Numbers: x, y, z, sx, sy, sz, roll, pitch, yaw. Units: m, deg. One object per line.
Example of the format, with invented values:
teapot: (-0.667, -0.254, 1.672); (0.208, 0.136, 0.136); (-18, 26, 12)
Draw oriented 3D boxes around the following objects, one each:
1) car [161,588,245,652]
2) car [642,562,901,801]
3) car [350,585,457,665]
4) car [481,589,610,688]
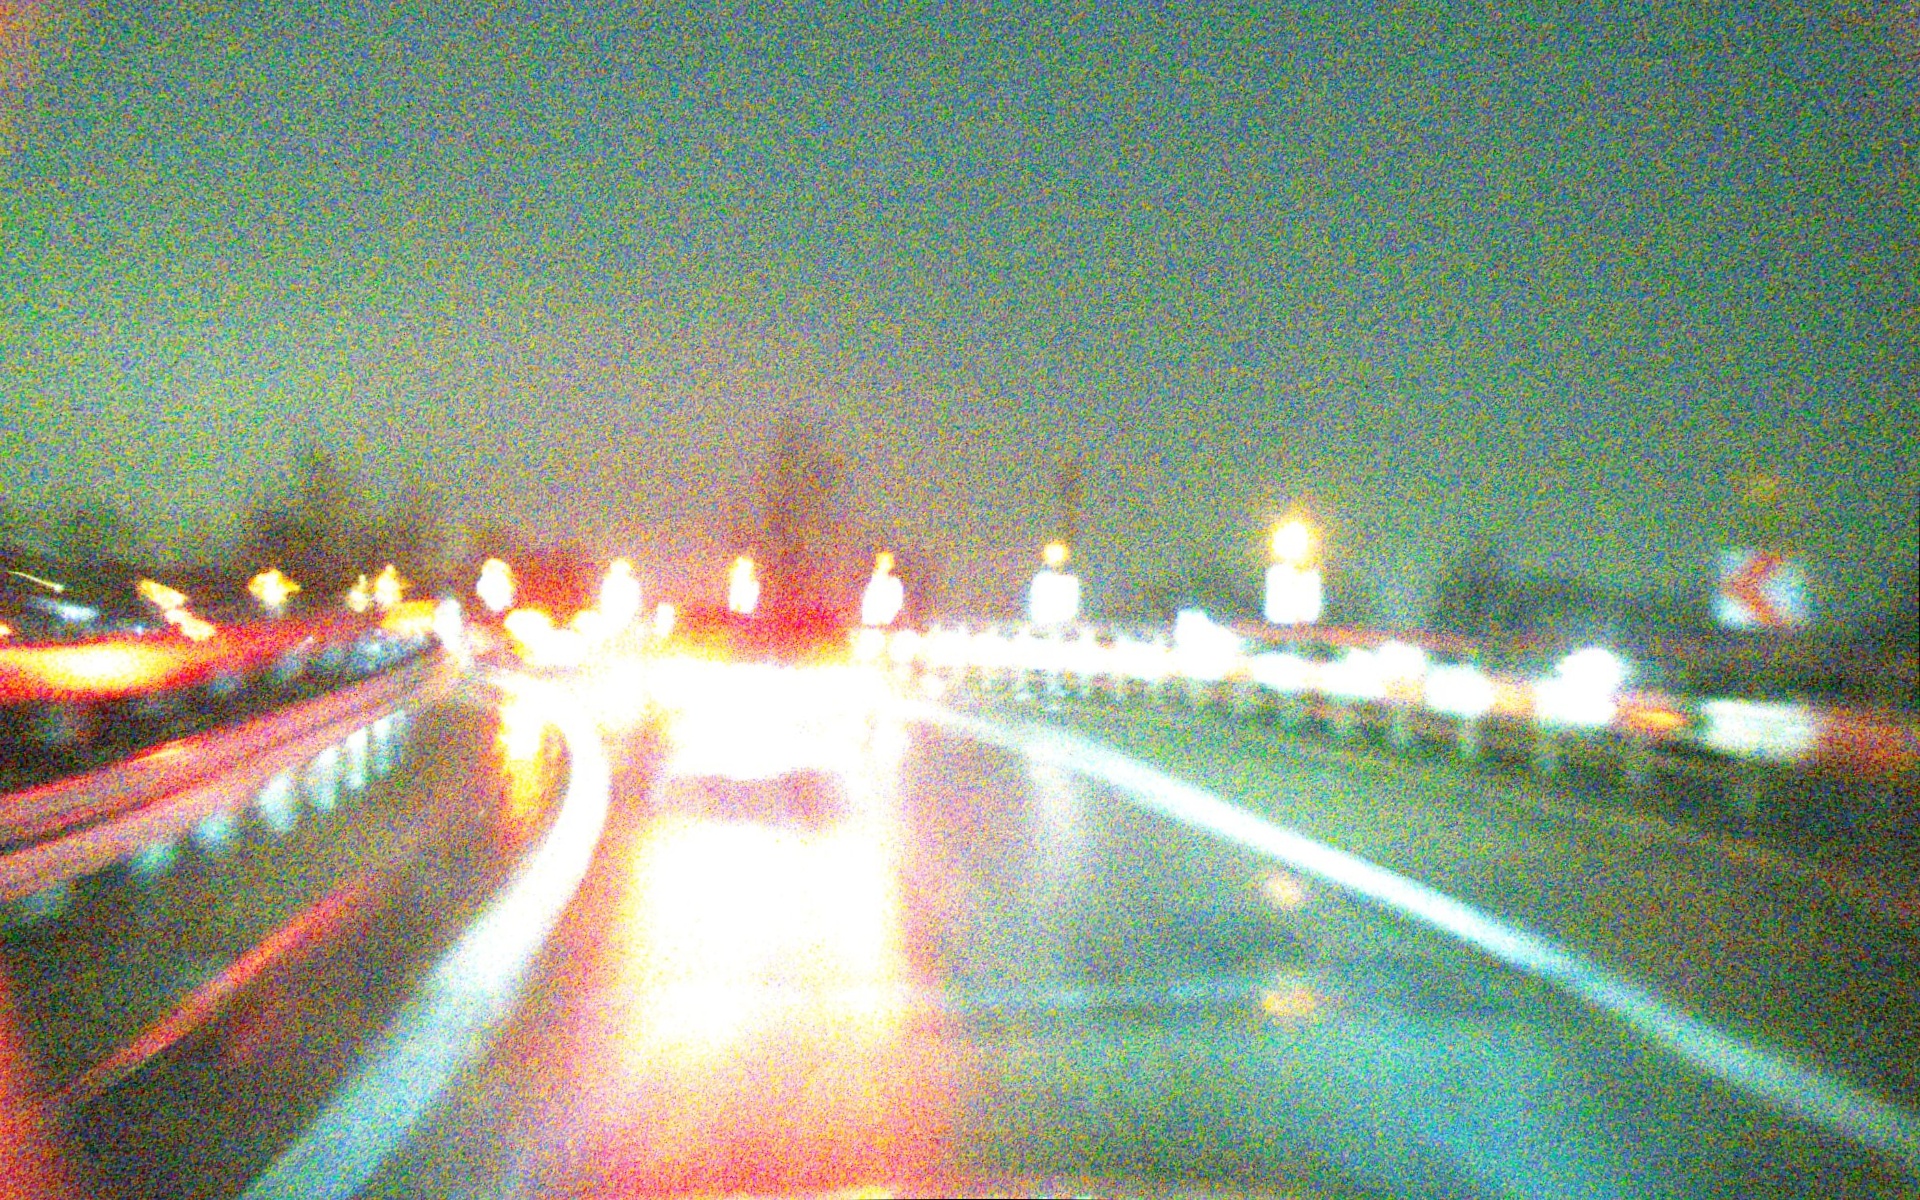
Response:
car: (-25.379, 0.637, 55.399); (1.880, 2.033, 3.995); (-1, 0, -35)
car: (-1.693, 0.576, 13.848); (1.827, 1.676, 4.059); (-1, 0, -10)
car: (-15.396, 0.670, 45.628); (1.878, 2.076, 3.999); (0, -1, -33)
car: (-7.960, 0.678, 31.528); (1.869, 1.750, 4.019); (0, 0, -22)
